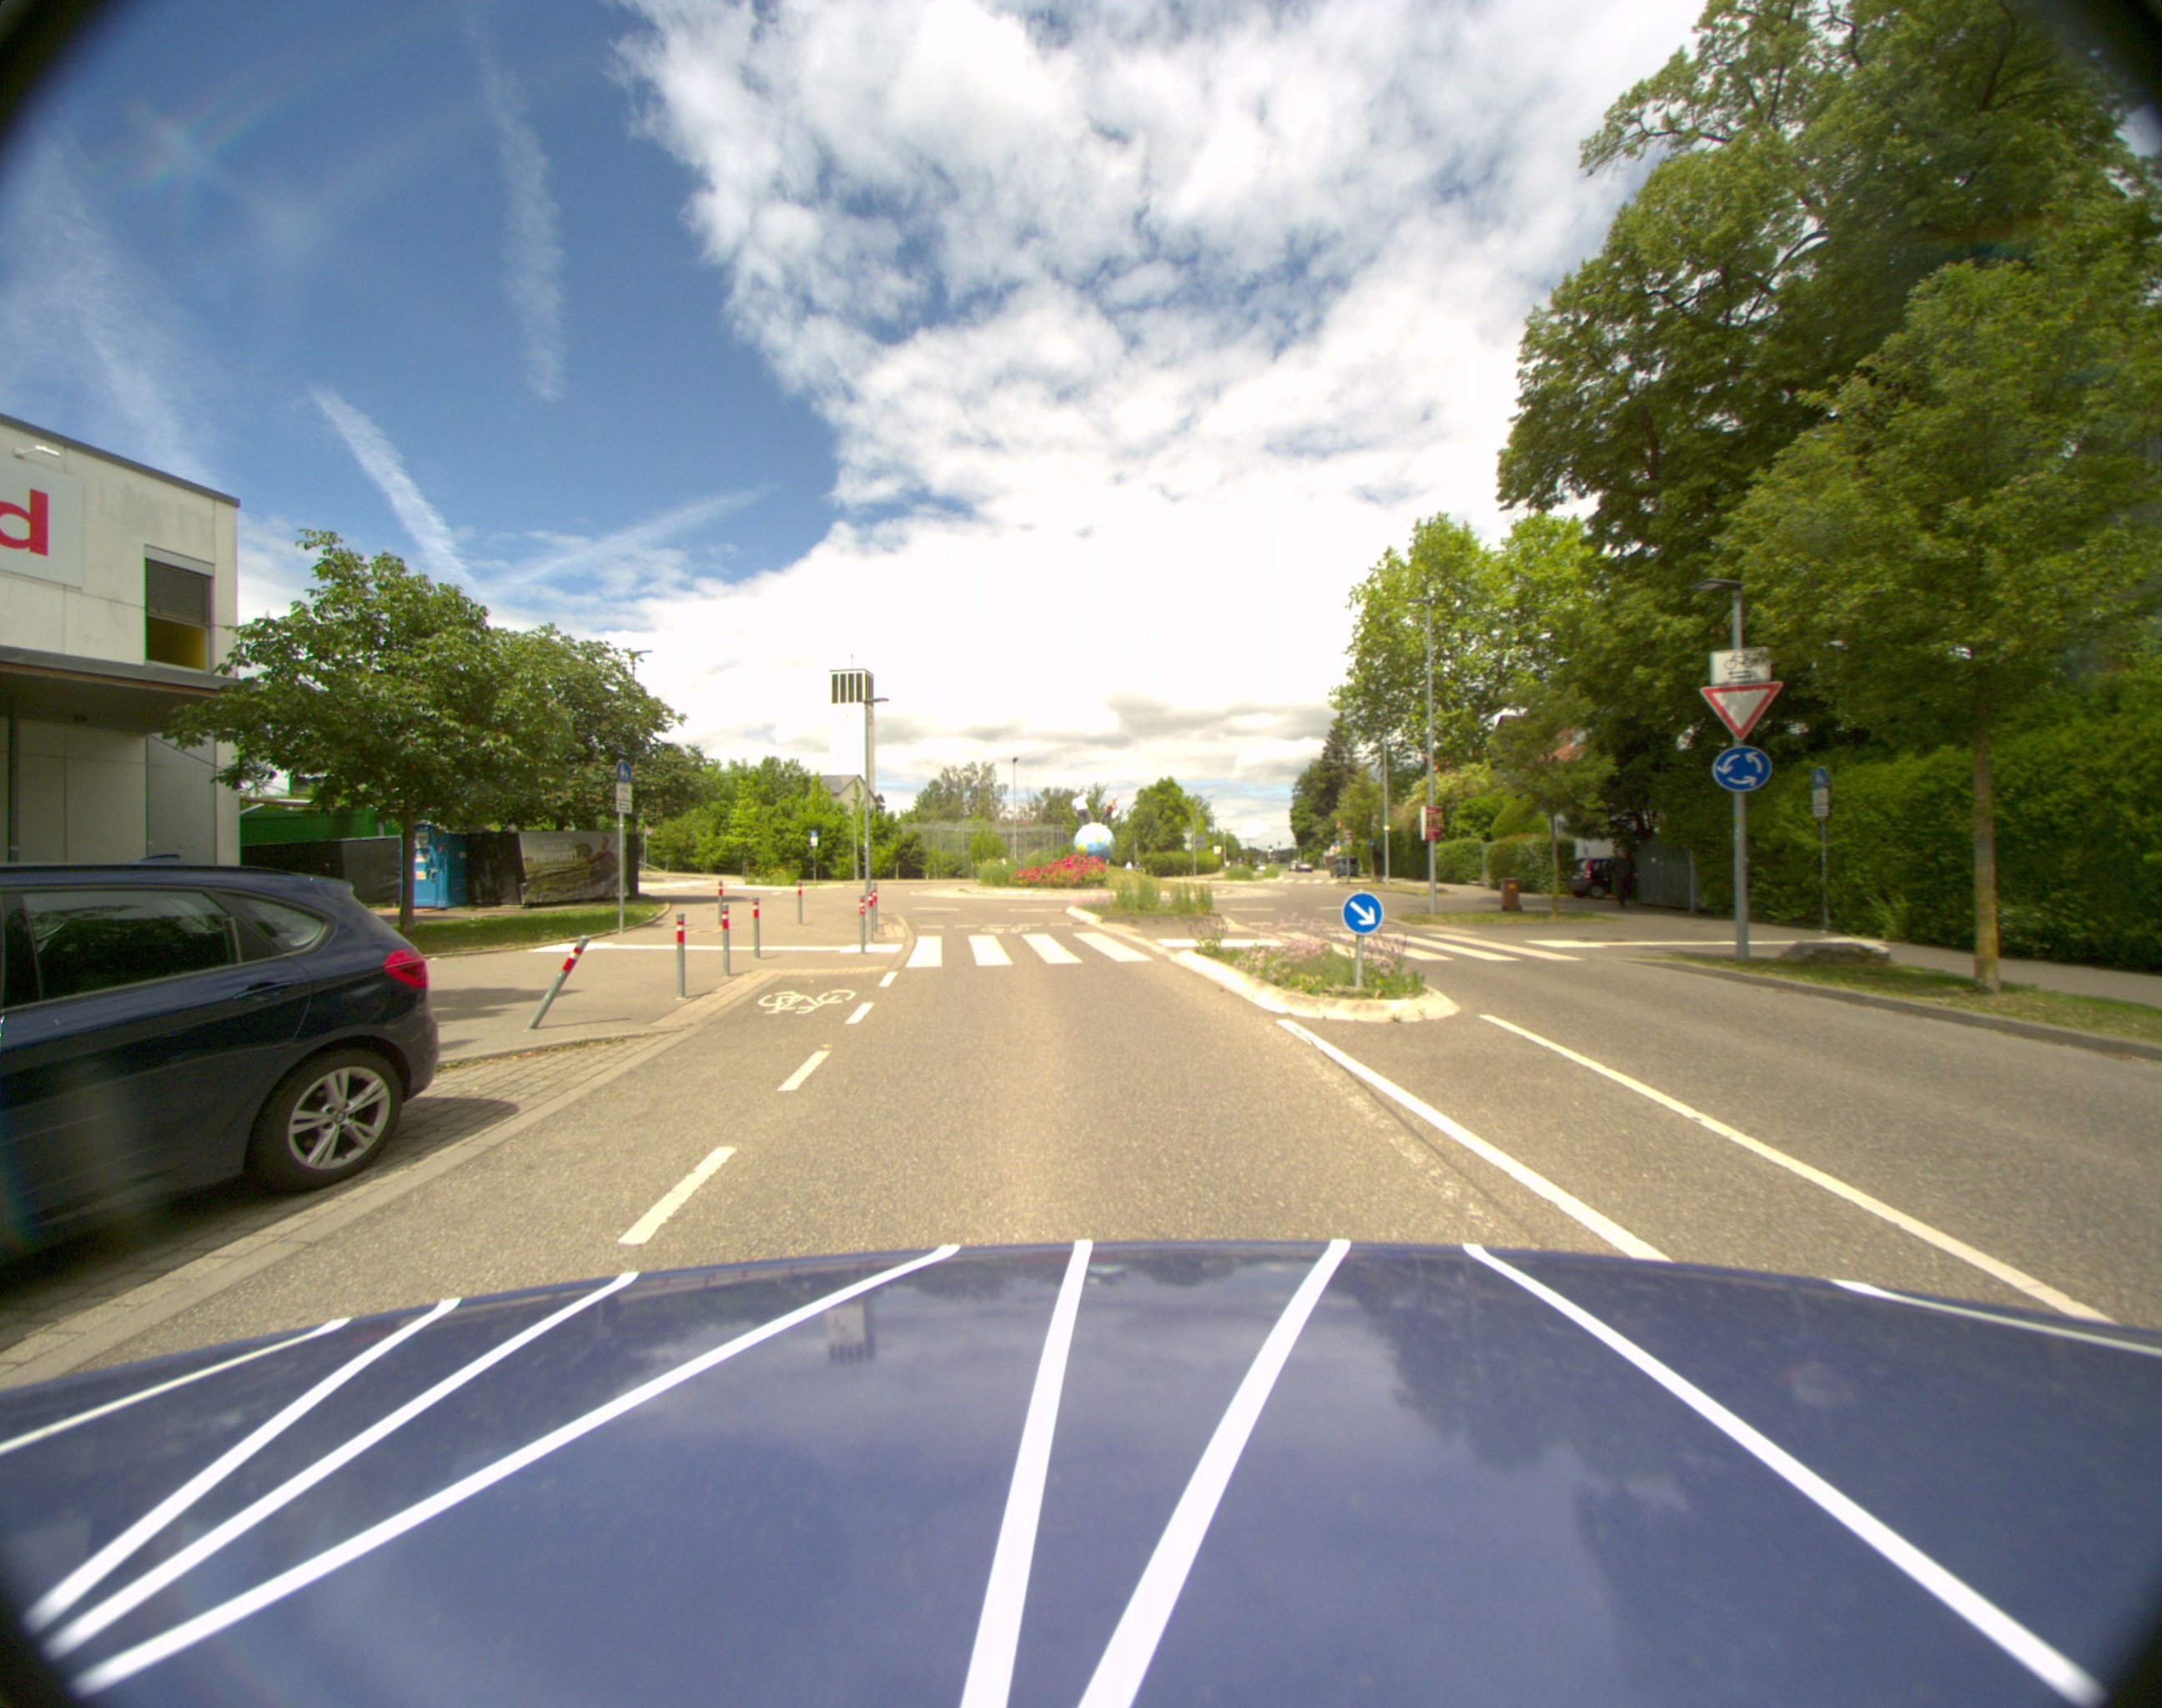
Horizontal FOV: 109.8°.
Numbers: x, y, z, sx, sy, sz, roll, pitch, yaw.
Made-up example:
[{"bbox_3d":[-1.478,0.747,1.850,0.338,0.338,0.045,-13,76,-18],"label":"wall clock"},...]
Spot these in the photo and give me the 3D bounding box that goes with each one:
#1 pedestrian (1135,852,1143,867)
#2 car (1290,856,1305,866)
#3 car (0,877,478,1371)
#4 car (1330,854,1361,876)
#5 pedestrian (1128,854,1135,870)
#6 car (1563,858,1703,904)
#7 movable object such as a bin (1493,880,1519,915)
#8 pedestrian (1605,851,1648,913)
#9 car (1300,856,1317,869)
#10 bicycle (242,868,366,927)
[{"bbox_3d":[6.243,0.579,81.881,0.765,1.548,0.601,0,1,-13],"label":"pedestrian"},{"bbox_3d":[36.919,1.212,129.864,1.997,1.696,4.003,0,0,9],"label":"car"},{"bbox_3d":[-4.590,0.943,2.260,1.921,1.569,4.430,0,1,3],"label":"car"},{"bbox_3d":[21.304,0.846,61.332,1.679,1.652,4.003,0,0,9],"label":"car"},{"bbox_3d":[5.425,0.822,81.659,0.608,1.687,0.566,0,1,-7],"label":"pedestrian"},{"bbox_3d":[19.306,0.914,26.727,3.572,1.389,1.667,2,1,14],"label":"car"},{"bbox_3d":[11.607,1.185,20.764,0.441,0.929,0.411,0,1,-15],"label":"movable object such as a bin"},{"bbox_3d":[15.140,0.759,21.093,0.745,1.681,0.695,-1,1,15],"label":"pedestrian"},{"bbox_3d":[29.767,1.090,99.542,1.860,1.568,4.004,-1,0,14],"label":"car"},{"bbox_3d":[-17.409,0.956,17.077,1.774,1.227,0.714,-2,1,-20],"label":"bicycle"}]
